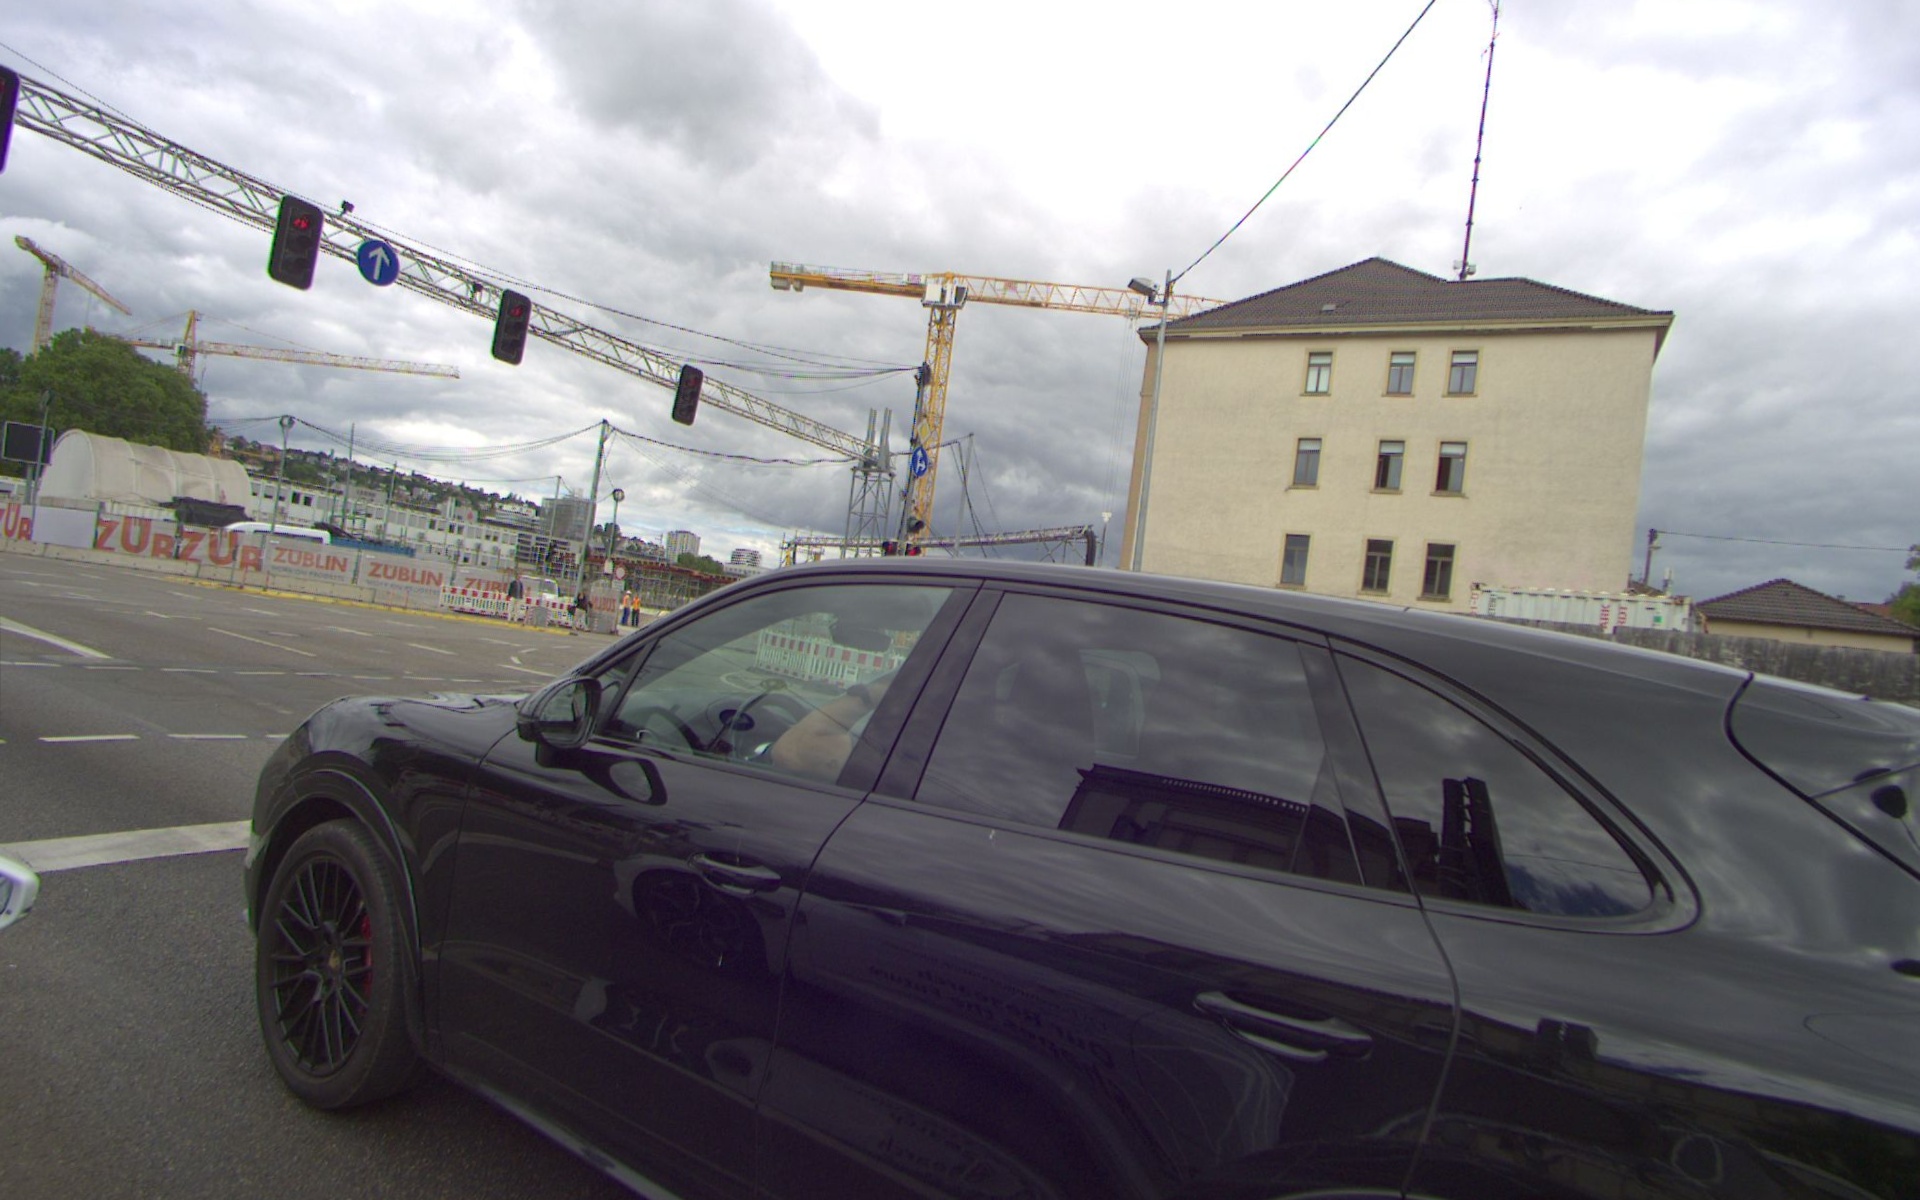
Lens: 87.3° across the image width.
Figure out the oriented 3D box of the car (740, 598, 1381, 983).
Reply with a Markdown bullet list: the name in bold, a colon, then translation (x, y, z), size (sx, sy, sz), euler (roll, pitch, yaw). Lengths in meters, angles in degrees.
- **car**: translation (0.587, 0.999, 6.547), size (3.587, 1.527, 1.825), euler (6, -2, 33)

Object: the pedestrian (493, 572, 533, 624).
- **pedestrian**: translation (-17.438, -0.068, 39.262), size (1.040, 1.869, 0.781), euler (8, -1, -42)

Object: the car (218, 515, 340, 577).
- **car**: translation (-29.518, -2.328, 43.636), size (3.976, 2.037, 1.976), euler (9, -2, -43)

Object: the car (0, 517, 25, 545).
- **car**: translation (-52.818, -3.939, 53.747), size (1.770, 1.401, 3.825), euler (7, -2, 10)

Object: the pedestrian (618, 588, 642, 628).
- **pedestrian**: translation (-17.634, 0.443, 53.819), size (0.855, 2.037, 0.677), euler (6, -1, 44)

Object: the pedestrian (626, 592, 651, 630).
- **pedestrian**: translation (-17.486, 0.599, 54.751), size (0.850, 1.938, 0.680), euler (7, -1, 26)

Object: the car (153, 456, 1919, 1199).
- **car**: translation (0.006, 0.690, 2.710), size (4.505, 1.687, 1.996), euler (6, -2, 34)

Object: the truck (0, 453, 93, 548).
- **truck**: translation (-57.968, -6.277, 59.592), size (3.054, 5.017, 9.760), euler (7, -2, 12)

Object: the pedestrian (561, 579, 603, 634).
- **pedestrian**: translation (-15.479, 0.267, 41.172), size (1.020, 2.037, 1.041), euler (6, -1, 43)
